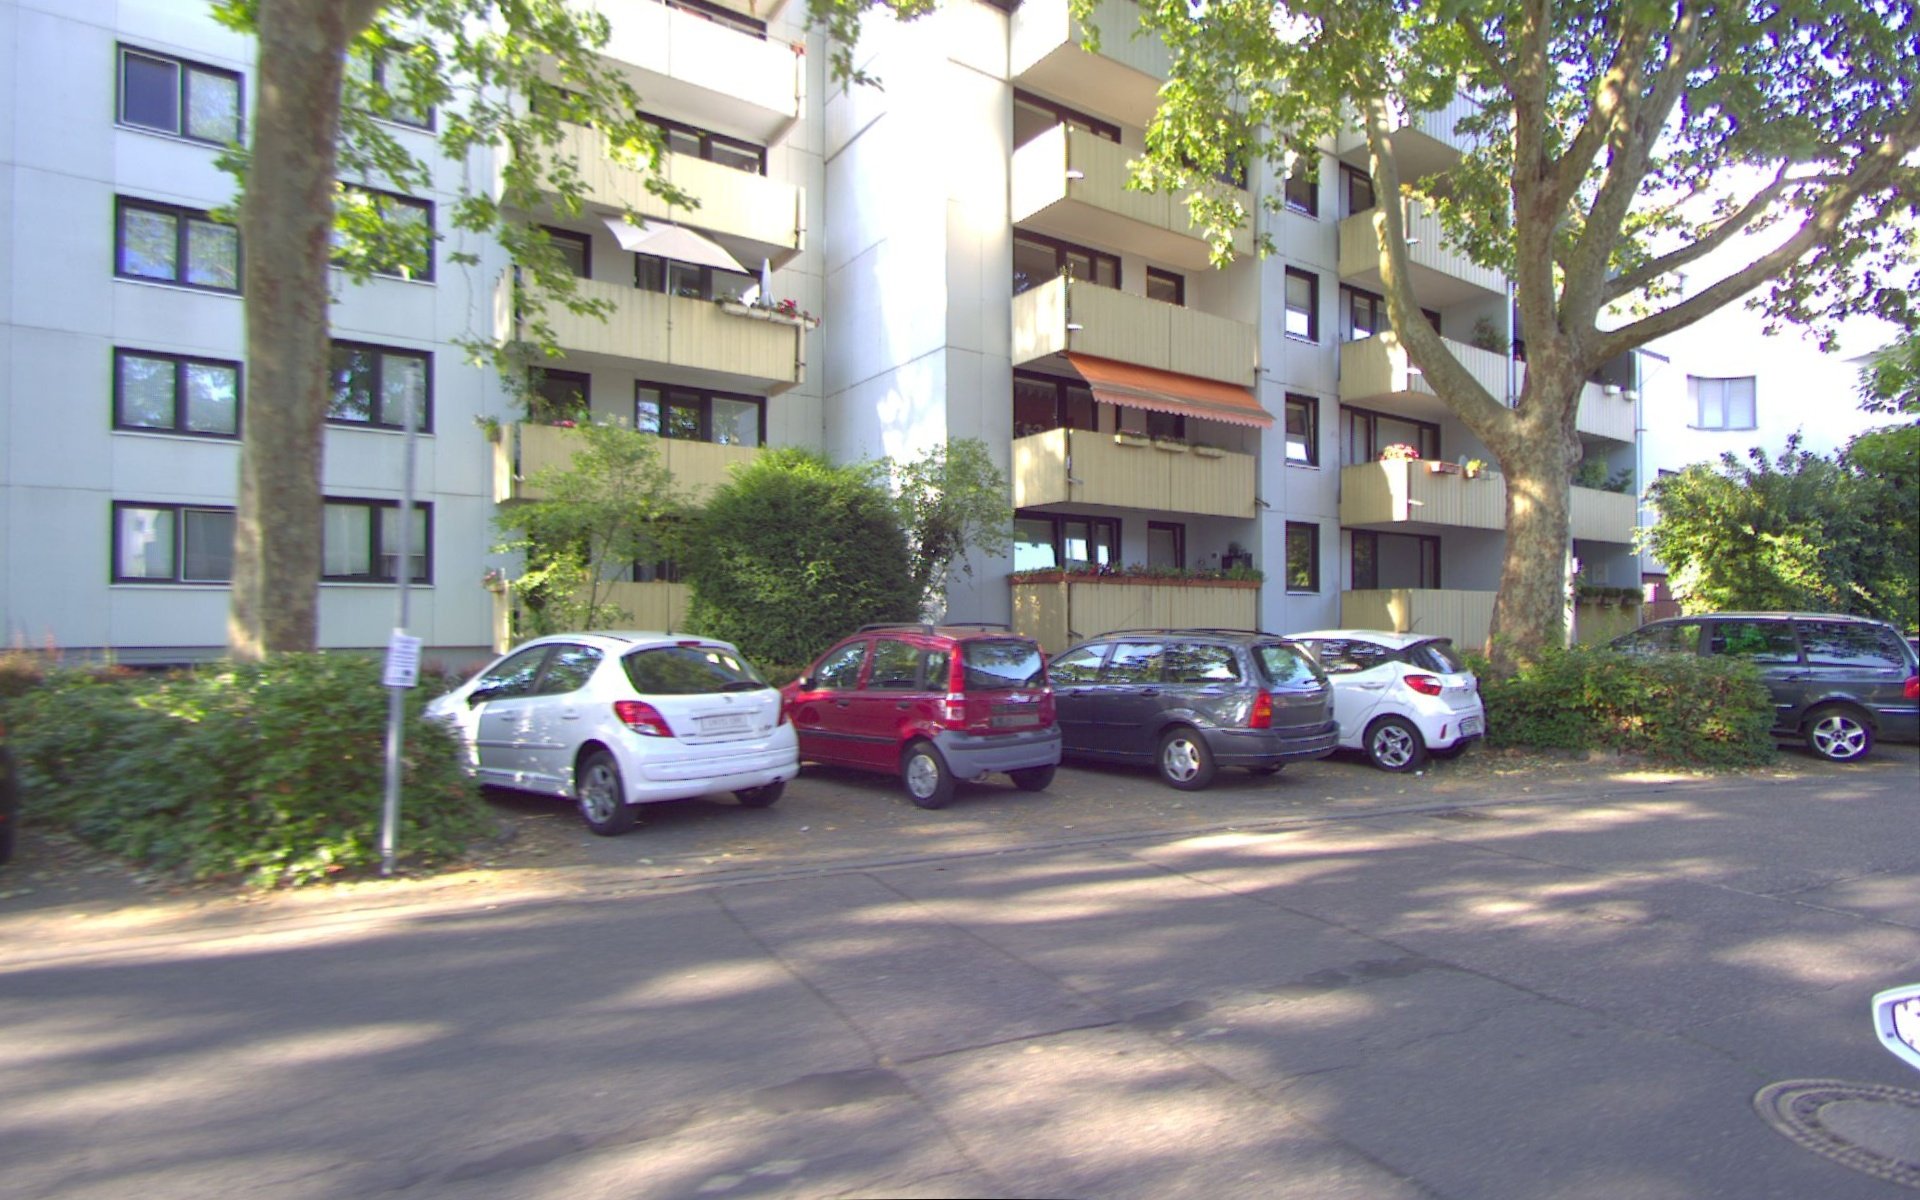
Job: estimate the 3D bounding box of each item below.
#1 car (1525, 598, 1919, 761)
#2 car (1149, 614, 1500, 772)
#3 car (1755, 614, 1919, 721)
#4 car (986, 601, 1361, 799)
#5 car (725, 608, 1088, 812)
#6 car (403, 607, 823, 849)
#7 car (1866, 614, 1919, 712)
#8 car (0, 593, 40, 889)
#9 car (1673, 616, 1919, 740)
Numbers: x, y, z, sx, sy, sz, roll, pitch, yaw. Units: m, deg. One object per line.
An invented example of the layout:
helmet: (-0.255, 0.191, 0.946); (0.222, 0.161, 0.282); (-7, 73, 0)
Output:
car: (10.212, 0.936, 13.553); (4.206, 1.799, 1.897); (2, 0, 41)
car: (4.326, 0.982, 12.253); (1.764, 1.514, 3.613); (0, 1, -44)
car: (15.083, 1.068, 15.907); (1.685, 1.581, 3.611); (2, 0, -37)
car: (2.144, 0.901, 10.726); (1.639, 1.683, 3.602); (2, 0, -44)
car: (-0.665, 0.923, 10.035); (1.639, 1.581, 3.602); (2, 0, -44)
car: (-3.084, 0.907, 8.695); (3.591, 1.581, 1.703); (2, 0, 37)
car: (18.109, 1.136, 16.936); (4.077, 1.662, 1.769); (2, 0, 40)
car: (-7.314, 0.763, 6.326); (3.592, 1.683, 1.643); (2, 0, 38)
car: (12.707, 1.094, 14.709); (3.593, 1.581, 1.693); (2, 0, 39)
